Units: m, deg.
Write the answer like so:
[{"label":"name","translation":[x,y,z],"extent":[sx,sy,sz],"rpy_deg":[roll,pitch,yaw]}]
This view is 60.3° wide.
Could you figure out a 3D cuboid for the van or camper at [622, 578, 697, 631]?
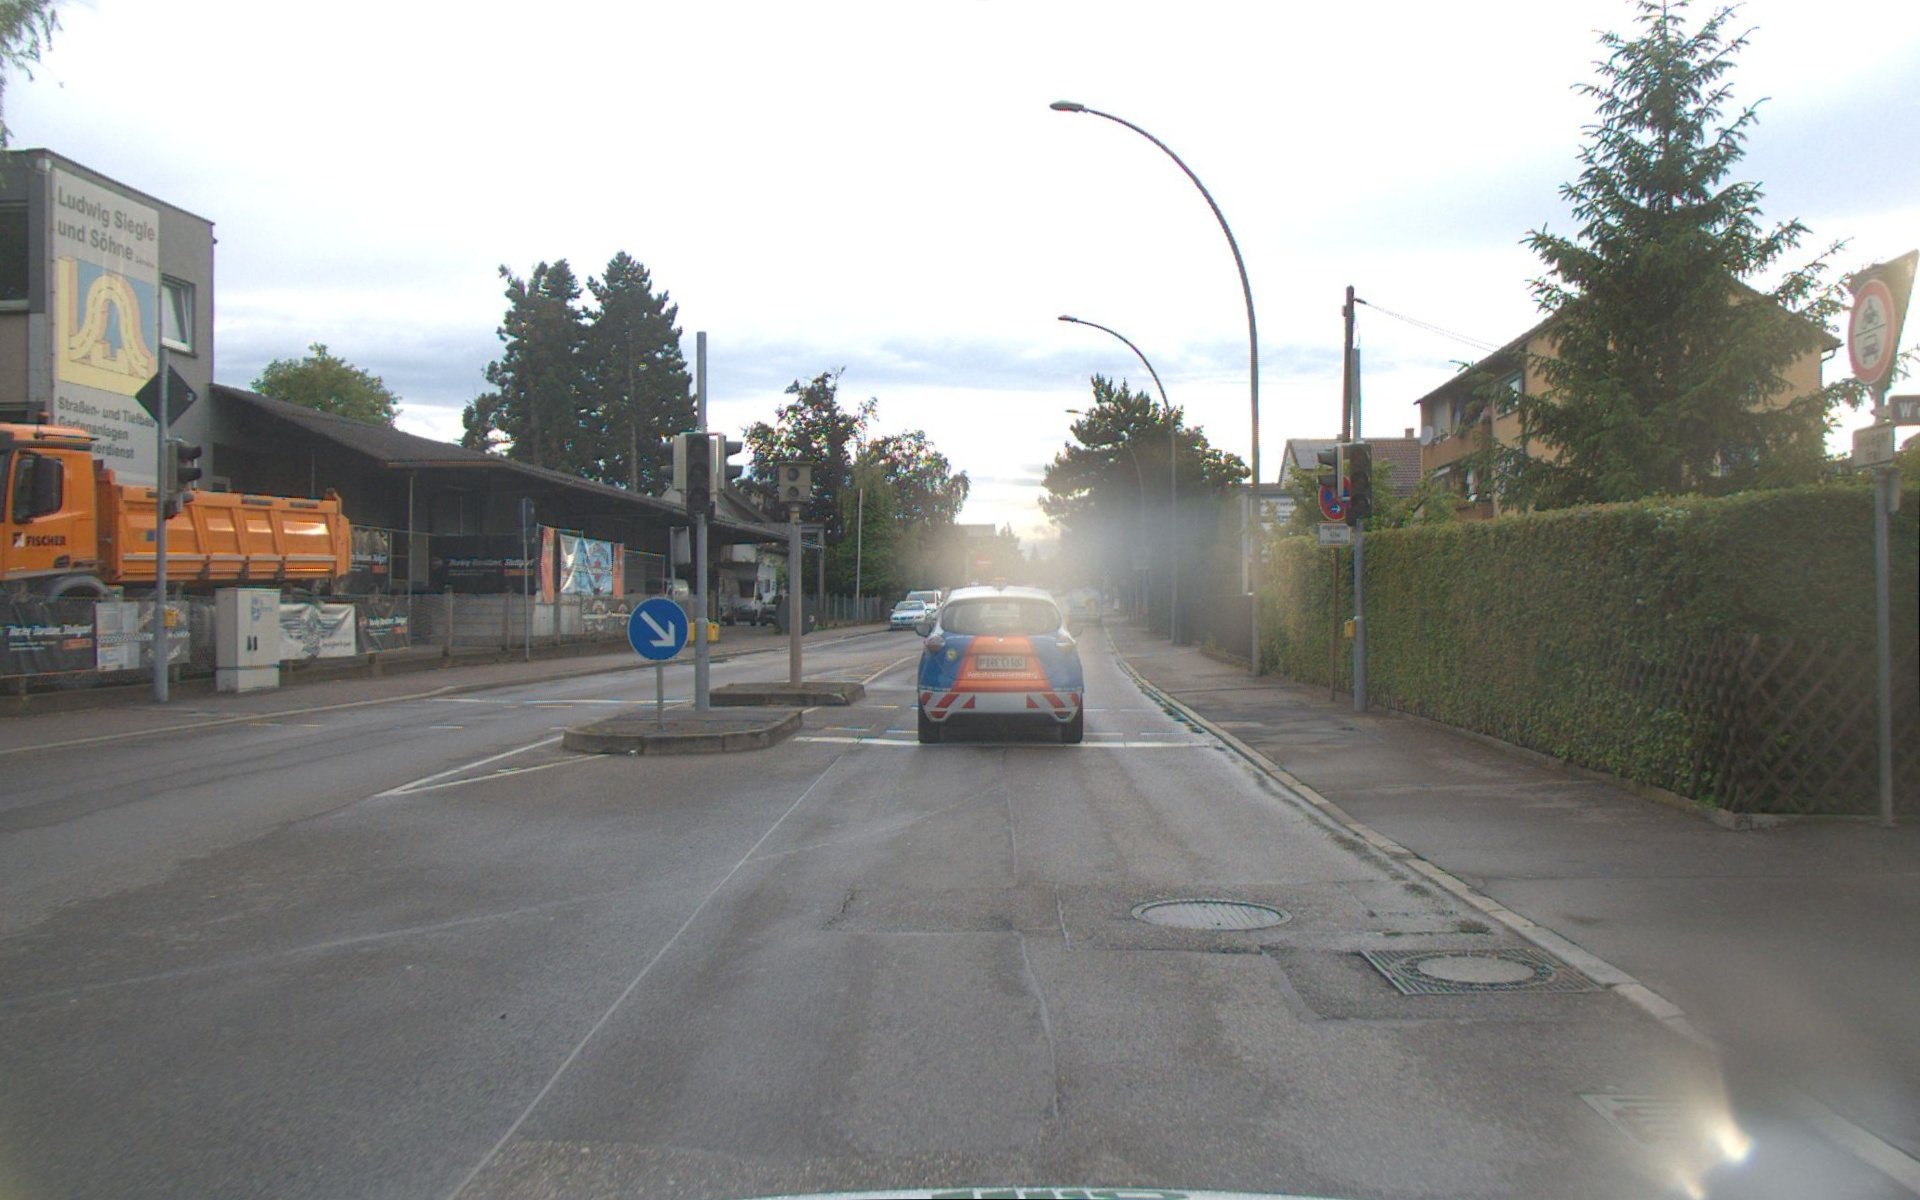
[{"label":"van or camper","translation":[-11.833,0.190,65.442],"extent":[1.952,1.942,4.473],"rpy_deg":[2,0,2]}]

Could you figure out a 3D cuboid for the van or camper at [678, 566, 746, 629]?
[{"label":"van or camper","translation":[-10.786,-0.044,72.283],"extent":[1.820,2.480,5.235],"rpy_deg":[2,-2,3]}]

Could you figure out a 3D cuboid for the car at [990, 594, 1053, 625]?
[{"label":"car","translation":[2.939,0.445,80.091],"extent":[1.961,1.445,3.983],"rpy_deg":[-1,0,-16]}]

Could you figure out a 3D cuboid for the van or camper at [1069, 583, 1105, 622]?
[{"label":"van or camper","translation":[6.522,0.118,85.308],"extent":[1.717,1.916,4.002],"rpy_deg":[-1,0,3]}]

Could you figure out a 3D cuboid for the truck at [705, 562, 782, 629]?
[{"label":"truck","translation":[-10.155,-0.163,77.981],"extent":[2.344,2.978,5.959],"rpy_deg":[2,-1,4]}]

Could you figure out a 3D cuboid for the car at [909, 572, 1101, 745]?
[{"label":"car","translation":[0.481,0.557,18.058],"extent":[1.849,1.660,4.001],"rpy_deg":[-1,0,1]}]

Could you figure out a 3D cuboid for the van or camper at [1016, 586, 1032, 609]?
[{"label":"van or camper","translation":[8.066,-0.302,209.122],"extent":[1.952,2.823,5.442],"rpy_deg":[0,0,3]}]

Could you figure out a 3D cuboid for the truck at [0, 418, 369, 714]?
[{"label":"truck","translation":[-12.040,-0.272,23.970],"extent":[2.640,3.472,9.077],"rpy_deg":[2,-2,7]}]

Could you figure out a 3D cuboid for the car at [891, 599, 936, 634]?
[{"label":"car","translation":[-2.248,0.837,80.758],"extent":[1.706,1.506,4.185],"rpy_deg":[-2,-2,5]}]

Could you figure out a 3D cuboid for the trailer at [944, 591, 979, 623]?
[{"label":"trailer","translation":[0.121,0.506,114.300],"extent":[2.174,2.049,4.437],"rpy_deg":[2,-2,3]}]

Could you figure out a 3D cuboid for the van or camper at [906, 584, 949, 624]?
[{"label":"van or camper","translation":[-1.685,0.200,87.424],"extent":[1.851,2.049,5.100],"rpy_deg":[-1,0,4]}]
